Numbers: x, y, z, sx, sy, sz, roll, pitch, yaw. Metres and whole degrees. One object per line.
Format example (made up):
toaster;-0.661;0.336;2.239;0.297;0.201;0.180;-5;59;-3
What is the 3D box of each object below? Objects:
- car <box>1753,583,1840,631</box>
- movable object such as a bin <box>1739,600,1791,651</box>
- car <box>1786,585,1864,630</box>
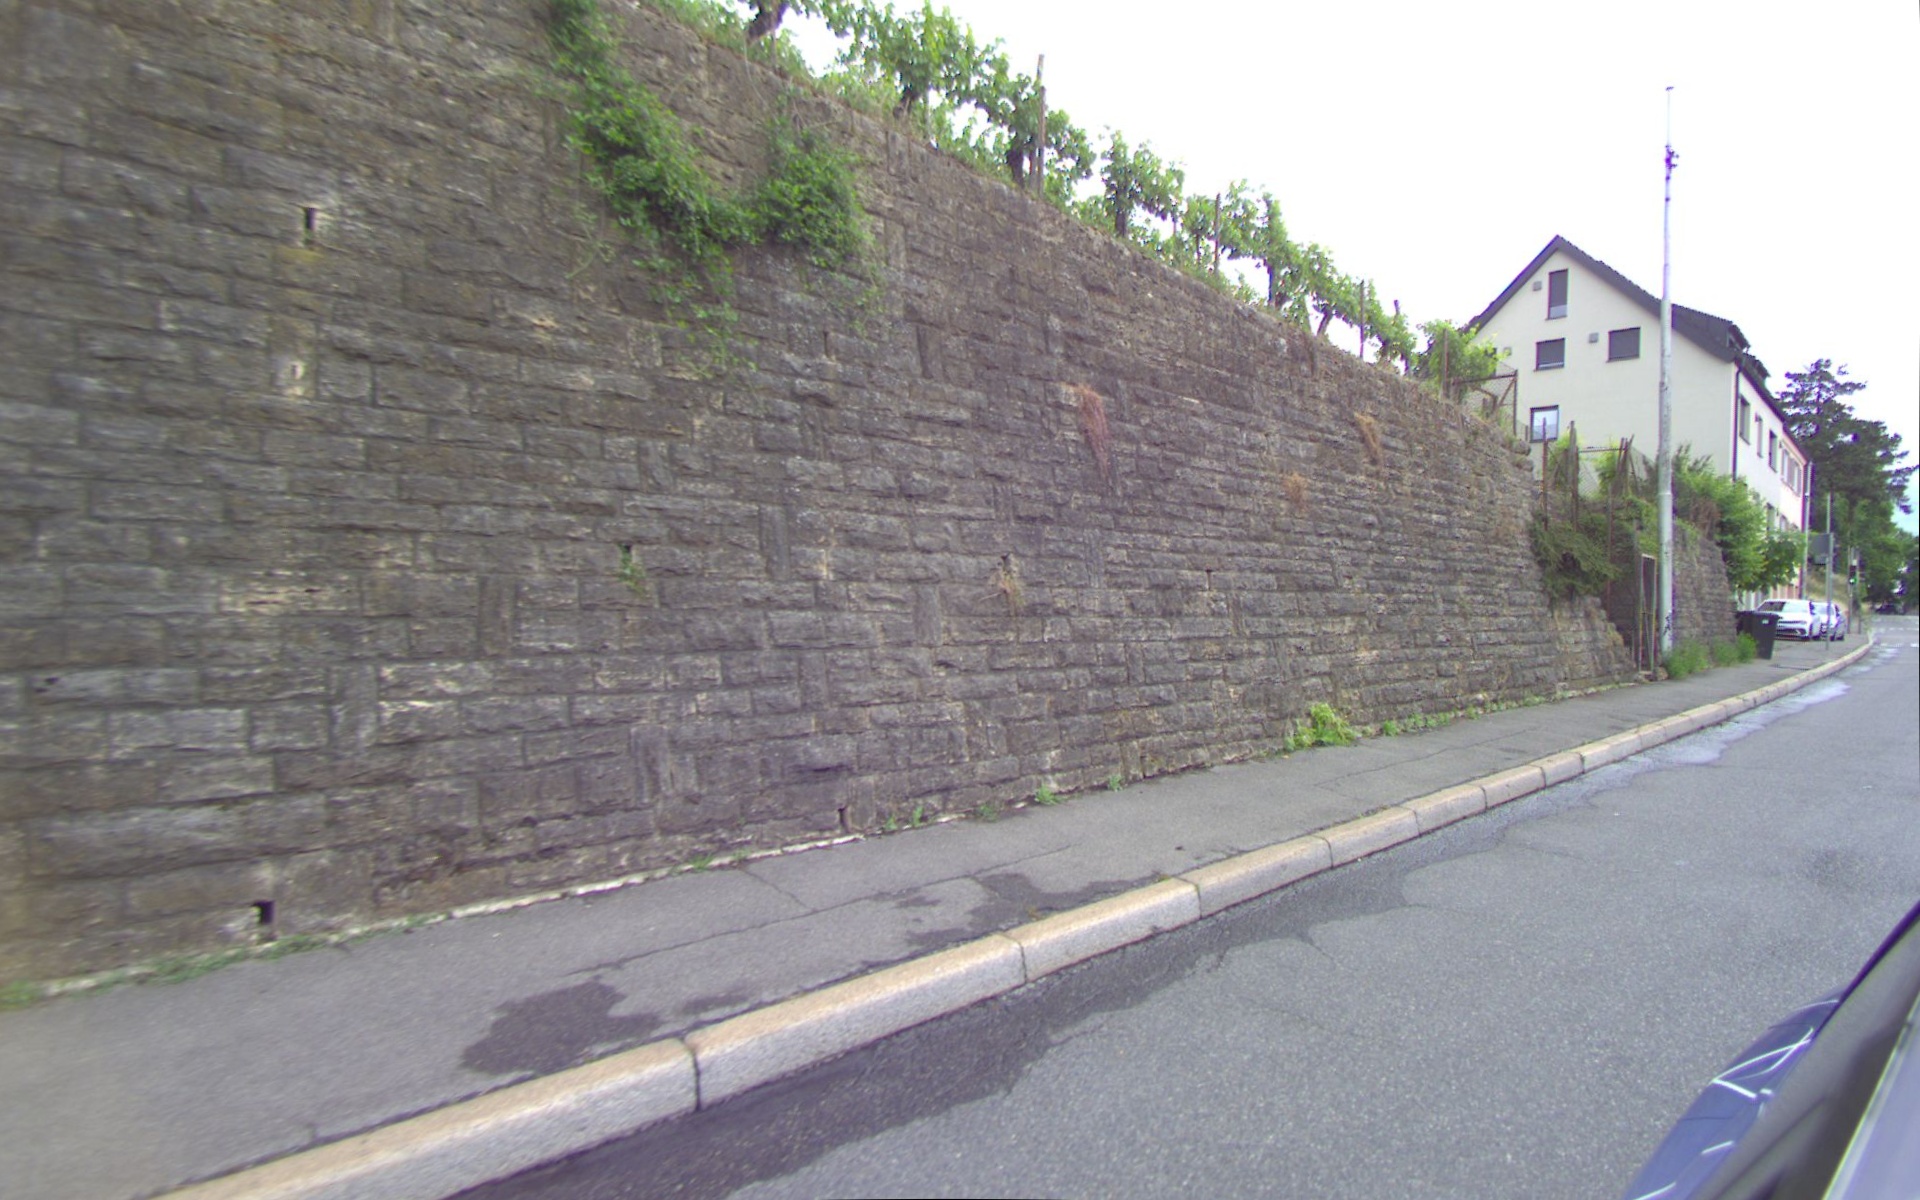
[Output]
car;29.209;0.216;35.291;3.987;1.595;1.796;-1;0;-42
movable object such as a bin;18.366;0.567;23.082;0.860;1.141;0.810;0;0;-43
car;32.893;0.252;38.445;4.177;1.595;1.729;-1;0;-42
